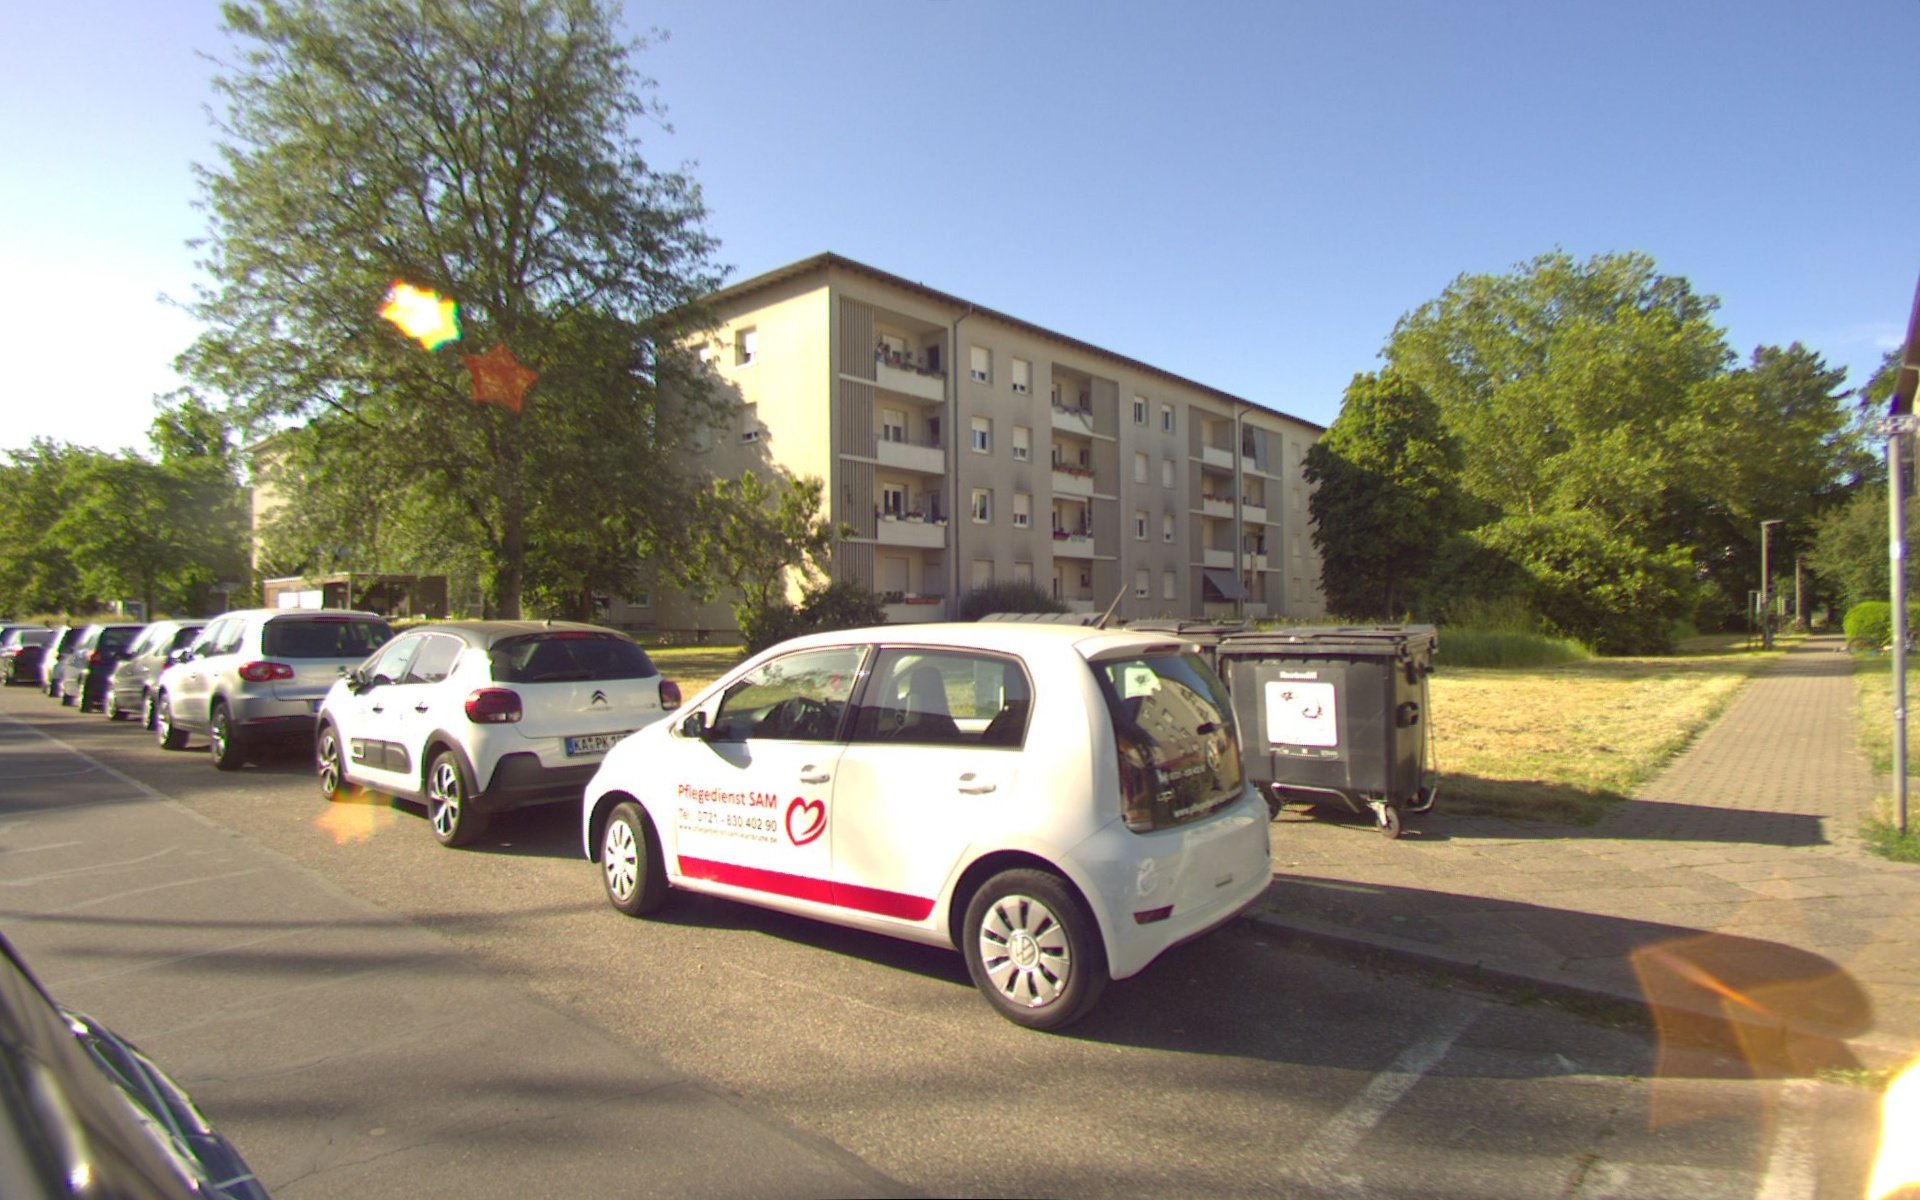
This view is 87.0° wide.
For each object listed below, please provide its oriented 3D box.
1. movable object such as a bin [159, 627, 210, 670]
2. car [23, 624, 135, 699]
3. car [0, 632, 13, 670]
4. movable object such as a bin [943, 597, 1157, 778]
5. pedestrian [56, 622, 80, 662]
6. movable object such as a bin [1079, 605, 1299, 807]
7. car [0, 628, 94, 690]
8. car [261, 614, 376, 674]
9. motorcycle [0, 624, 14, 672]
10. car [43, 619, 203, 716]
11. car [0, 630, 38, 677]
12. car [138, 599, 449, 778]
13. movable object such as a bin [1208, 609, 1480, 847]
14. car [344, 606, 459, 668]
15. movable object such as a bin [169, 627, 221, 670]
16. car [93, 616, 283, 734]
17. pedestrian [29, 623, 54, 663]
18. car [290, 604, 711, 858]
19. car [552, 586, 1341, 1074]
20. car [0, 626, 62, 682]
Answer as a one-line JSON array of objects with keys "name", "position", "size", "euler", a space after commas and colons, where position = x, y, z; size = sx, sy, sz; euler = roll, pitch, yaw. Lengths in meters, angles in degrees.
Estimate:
[{"name": "movable object such as a bin", "position": [-26.548, 1.639, 34.643], "size": [1.343, 1.418, 1.165], "euler": [-2, -1, 42]}, {"name": "car", "position": [-20.088, 1.372, 23.049], "size": [3.140, 1.586, 1.429], "euler": [-2, -4, 41]}, {"name": "car", "position": [-37.869, 1.940, 38.880], "size": [4.267, 1.432, 1.735], "euler": [-2, -4, 42]}, {"name": "movable object such as a bin", "position": [0.786, 0.706, 8.891], "size": [1.442, 1.393, 1.124], "euler": [-2, 1, 43]}, {"name": "pedestrian", "position": [-38.566, 1.814, 43.753], "size": [0.600, 1.692, 0.713], "euler": [-2, -1, 41]}, {"name": "movable object such as a bin", "position": [1.797, 0.761, 7.941], "size": [1.243, 1.368, 1.124], "euler": [-2, 1, 43]}, {"name": "car", "position": [-24.491, 1.518, 26.729], "size": [4.534, 1.492, 1.736], "euler": [-2, -4, 41]}, {"name": "car", "position": [-17.838, 1.187, 28.074], "size": [3.996, 1.537, 1.555], "euler": [-2, 0, 40]}, {"name": "motorcycle", "position": [-35.935, 1.734, 36.679], "size": [0.931, 1.740, 2.234], "euler": [-1, -4, 38]}, {"name": "car", "position": [-15.775, 1.214, 19.003], "size": [3.968, 1.618, 1.735], "euler": [-2, -4, 42]}, {"name": "car", "position": [-32.484, 1.776, 34.094], "size": [3.959, 1.492, 1.735], "euler": [-2, -4, 43]}, {"name": "car", "position": [-7.694, 0.886, 11.517], "size": [4.347, 1.652, 1.883], "euler": [-2, -3, 42]}, {"name": "movable object such as a bin", "position": [2.598, 0.776, 6.854], "size": [1.343, 1.350, 1.165], "euler": [-2, 1, 43]}, {"name": "car", "position": [-16.052, 1.037, 29.023], "size": [3.996, 1.653, 1.555], "euler": [-2, 0, 40]}, {"name": "movable object such as a bin", "position": [-25.478, 1.598, 33.716], "size": [1.343, 1.350, 1.165], "euler": [-2, -1, 43]}, {"name": "car", "position": [-11.995, 1.085, 15.662], "size": [3.533, 1.618, 1.619], "euler": [-2, -3, 41]}, {"name": "pedestrian", "position": [-39.177, 1.832, 43.170], "size": [0.616, 1.692, 0.713], "euler": [-2, -1, 41]}, {"name": "car", "position": [-3.803, 0.847, 8.053], "size": [3.945, 1.525, 1.644], "euler": [-2, -3, 43]}, {"name": "car", "position": [-0.202, 0.773, 4.893], "size": [3.530, 1.525, 1.648], "euler": [-1, -2, 36]}, {"name": "car", "position": [-28.427, 1.584, 30.301], "size": [3.717, 1.586, 1.736], "euler": [-2, -4, 40]}]
